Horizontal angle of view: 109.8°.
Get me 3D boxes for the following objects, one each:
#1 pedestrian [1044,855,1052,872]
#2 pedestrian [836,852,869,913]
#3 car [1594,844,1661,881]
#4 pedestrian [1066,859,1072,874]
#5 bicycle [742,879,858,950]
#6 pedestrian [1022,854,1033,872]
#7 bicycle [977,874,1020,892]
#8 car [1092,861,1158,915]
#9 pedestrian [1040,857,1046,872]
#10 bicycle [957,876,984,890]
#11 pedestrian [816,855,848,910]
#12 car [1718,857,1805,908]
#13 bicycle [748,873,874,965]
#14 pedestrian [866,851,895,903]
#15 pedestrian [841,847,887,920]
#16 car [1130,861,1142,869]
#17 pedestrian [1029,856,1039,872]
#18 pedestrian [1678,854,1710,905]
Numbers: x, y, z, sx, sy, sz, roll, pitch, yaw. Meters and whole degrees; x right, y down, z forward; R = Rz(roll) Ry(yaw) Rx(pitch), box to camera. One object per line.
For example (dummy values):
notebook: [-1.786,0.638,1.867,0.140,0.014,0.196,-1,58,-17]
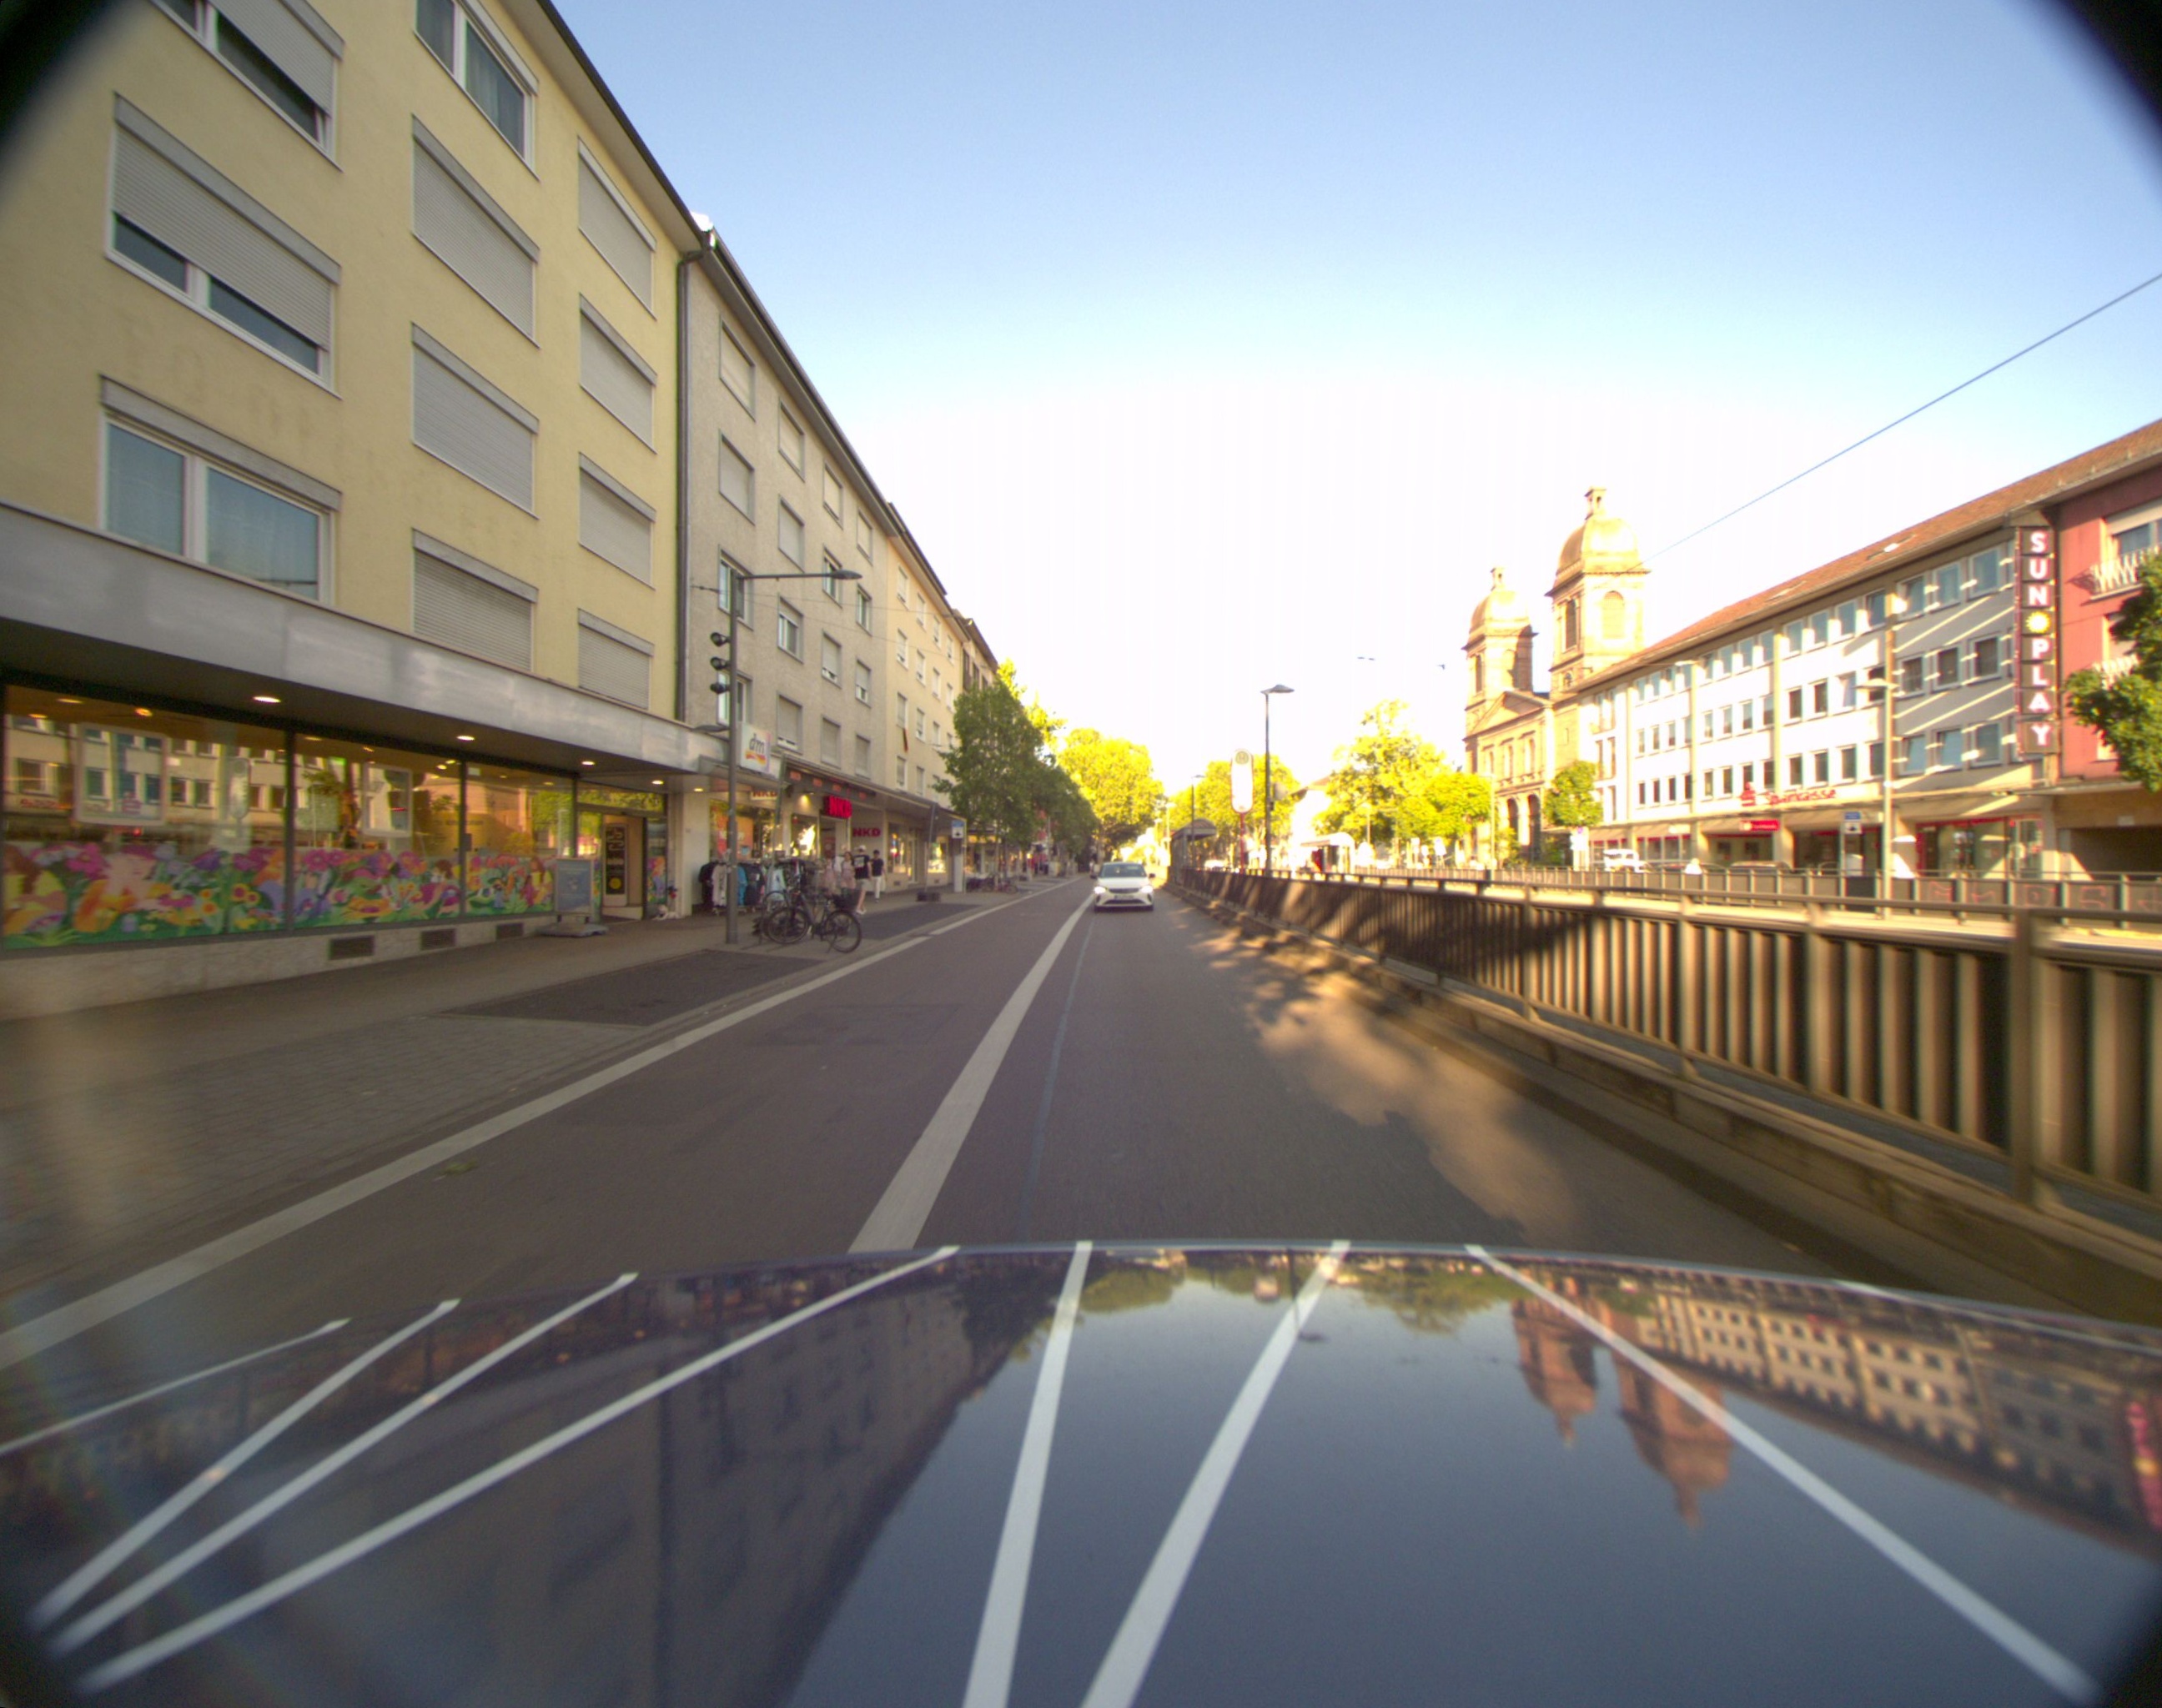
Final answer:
pedestrian: [-3.274,0.984,76.388,0.693,1.665,0.659,2,0,3]
pedestrian: [-6.223,0.775,20.738,0.547,1.619,0.896,2,0,3]
car: [24.458,0.360,33.960,4.008,1.477,1.739,-2,1,-45]
pedestrian: [-1.373,1.430,85.290,0.634,1.645,0.651,-2,1,2]
bicycle: [-4.957,1.067,13.407,1.795,1.118,0.662,5,0,-25]
pedestrian: [-4.913,0.793,69.824,0.851,1.645,0.916,-2,1,2]
bicycle: [-3.690,1.286,33.959,1.762,0.773,0.702,1,0,-20]
car: [1.327,0.963,23.047,1.826,1.433,3.829,-1,0,3]
pedestrian: [-4.164,1.125,83.185,0.634,1.645,0.651,-2,1,2]
bicycle: [-4.958,1.290,34.037,0.840,0.569,1.758,1,-1,-20]
pedestrian: [-7.024,0.795,21.470,0.542,1.493,0.896,2,0,3]
car: [23.893,0.961,26.638,4.008,1.521,1.865,-2,1,-43]
bicycle: [-4.433,1.036,12.511,1.789,1.304,0.694,5,1,14]
pedestrian: [-6.612,0.760,25.124,0.569,1.665,1.070,2,0,3]
pedestrian: [-5.589,0.741,19.603,0.775,1.789,0.931,3,0,4]
car: [9.807,1.986,136.778,1.718,1.390,3.999,-2,0,-2]
pedestrian: [-4.748,0.999,77.206,0.851,1.645,0.916,-2,1,2]
pedestrian: [22.321,0.916,27.674,0.726,1.777,0.766,-3,1,-40]
